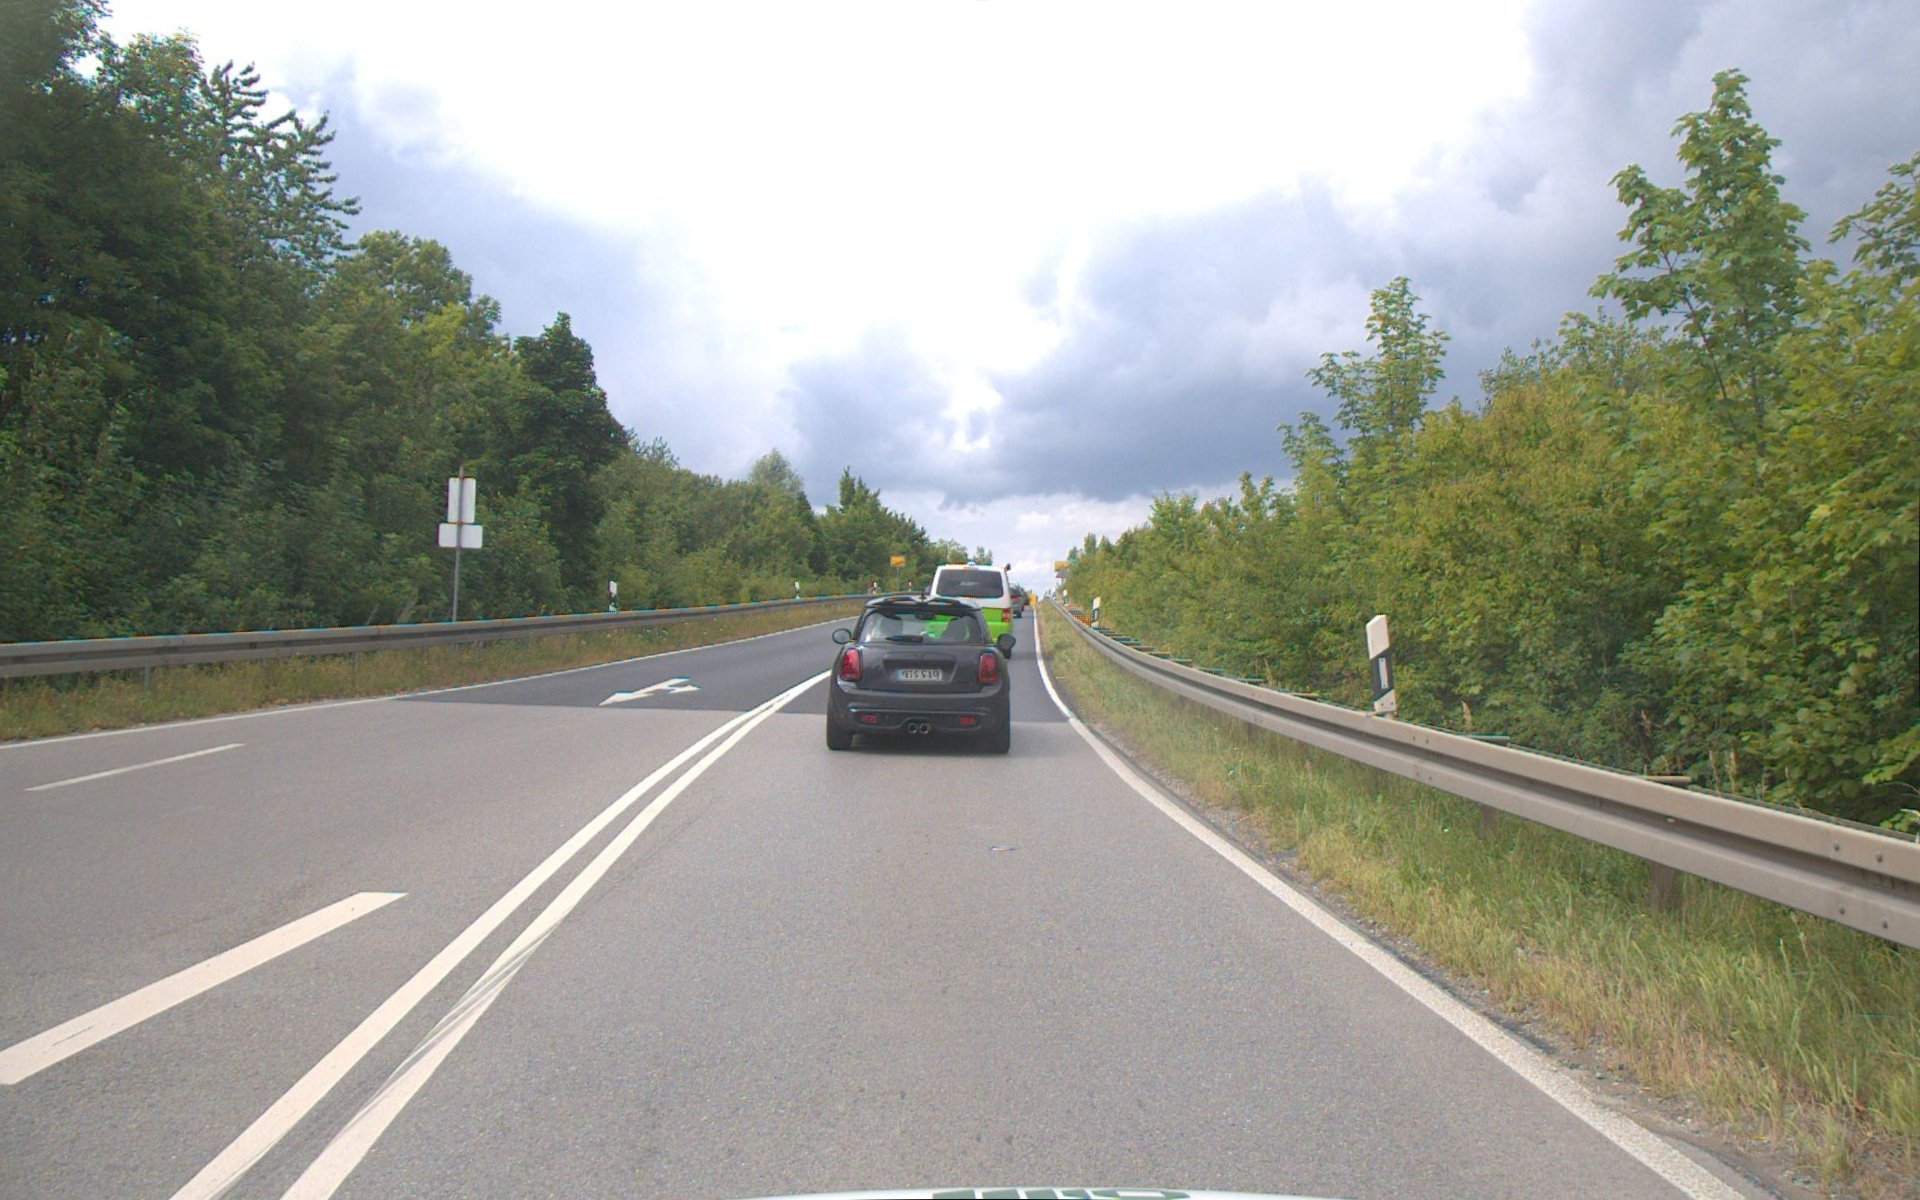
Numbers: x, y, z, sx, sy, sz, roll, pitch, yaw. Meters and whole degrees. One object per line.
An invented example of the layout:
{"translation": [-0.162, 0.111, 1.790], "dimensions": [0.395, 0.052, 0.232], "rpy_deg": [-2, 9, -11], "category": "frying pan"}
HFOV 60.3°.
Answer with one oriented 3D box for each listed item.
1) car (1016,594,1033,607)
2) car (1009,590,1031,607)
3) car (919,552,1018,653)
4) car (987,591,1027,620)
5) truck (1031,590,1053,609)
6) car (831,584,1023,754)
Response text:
{"translation": [7.035, 0.057, 180.422], "dimensions": [1.659, 1.342, 4.002], "rpy_deg": [0, 1, 4], "category": "car"}
{"translation": [4.913, -0.125, 134.780], "dimensions": [1.659, 1.342, 4.002], "rpy_deg": [0, 1, 4], "category": "car"}
{"translation": [0.252, 0.028, 36.600], "dimensions": [1.980, 2.048, 4.002], "rpy_deg": [2, 1, 2], "category": "car"}
{"translation": [2.196, 0.241, 76.409], "dimensions": [1.659, 1.243, 4.002], "rpy_deg": [0, 1, 4], "category": "car"}
{"translation": [11.043, -0.122, 222.118], "dimensions": [2.849, 2.413, 10.457], "rpy_deg": [-1, 0, 4], "category": "truck"}
{"translation": [-0.393, 0.602, 16.768], "dimensions": [1.697, 1.481, 3.998], "rpy_deg": [1, 1, -3], "category": "car"}
